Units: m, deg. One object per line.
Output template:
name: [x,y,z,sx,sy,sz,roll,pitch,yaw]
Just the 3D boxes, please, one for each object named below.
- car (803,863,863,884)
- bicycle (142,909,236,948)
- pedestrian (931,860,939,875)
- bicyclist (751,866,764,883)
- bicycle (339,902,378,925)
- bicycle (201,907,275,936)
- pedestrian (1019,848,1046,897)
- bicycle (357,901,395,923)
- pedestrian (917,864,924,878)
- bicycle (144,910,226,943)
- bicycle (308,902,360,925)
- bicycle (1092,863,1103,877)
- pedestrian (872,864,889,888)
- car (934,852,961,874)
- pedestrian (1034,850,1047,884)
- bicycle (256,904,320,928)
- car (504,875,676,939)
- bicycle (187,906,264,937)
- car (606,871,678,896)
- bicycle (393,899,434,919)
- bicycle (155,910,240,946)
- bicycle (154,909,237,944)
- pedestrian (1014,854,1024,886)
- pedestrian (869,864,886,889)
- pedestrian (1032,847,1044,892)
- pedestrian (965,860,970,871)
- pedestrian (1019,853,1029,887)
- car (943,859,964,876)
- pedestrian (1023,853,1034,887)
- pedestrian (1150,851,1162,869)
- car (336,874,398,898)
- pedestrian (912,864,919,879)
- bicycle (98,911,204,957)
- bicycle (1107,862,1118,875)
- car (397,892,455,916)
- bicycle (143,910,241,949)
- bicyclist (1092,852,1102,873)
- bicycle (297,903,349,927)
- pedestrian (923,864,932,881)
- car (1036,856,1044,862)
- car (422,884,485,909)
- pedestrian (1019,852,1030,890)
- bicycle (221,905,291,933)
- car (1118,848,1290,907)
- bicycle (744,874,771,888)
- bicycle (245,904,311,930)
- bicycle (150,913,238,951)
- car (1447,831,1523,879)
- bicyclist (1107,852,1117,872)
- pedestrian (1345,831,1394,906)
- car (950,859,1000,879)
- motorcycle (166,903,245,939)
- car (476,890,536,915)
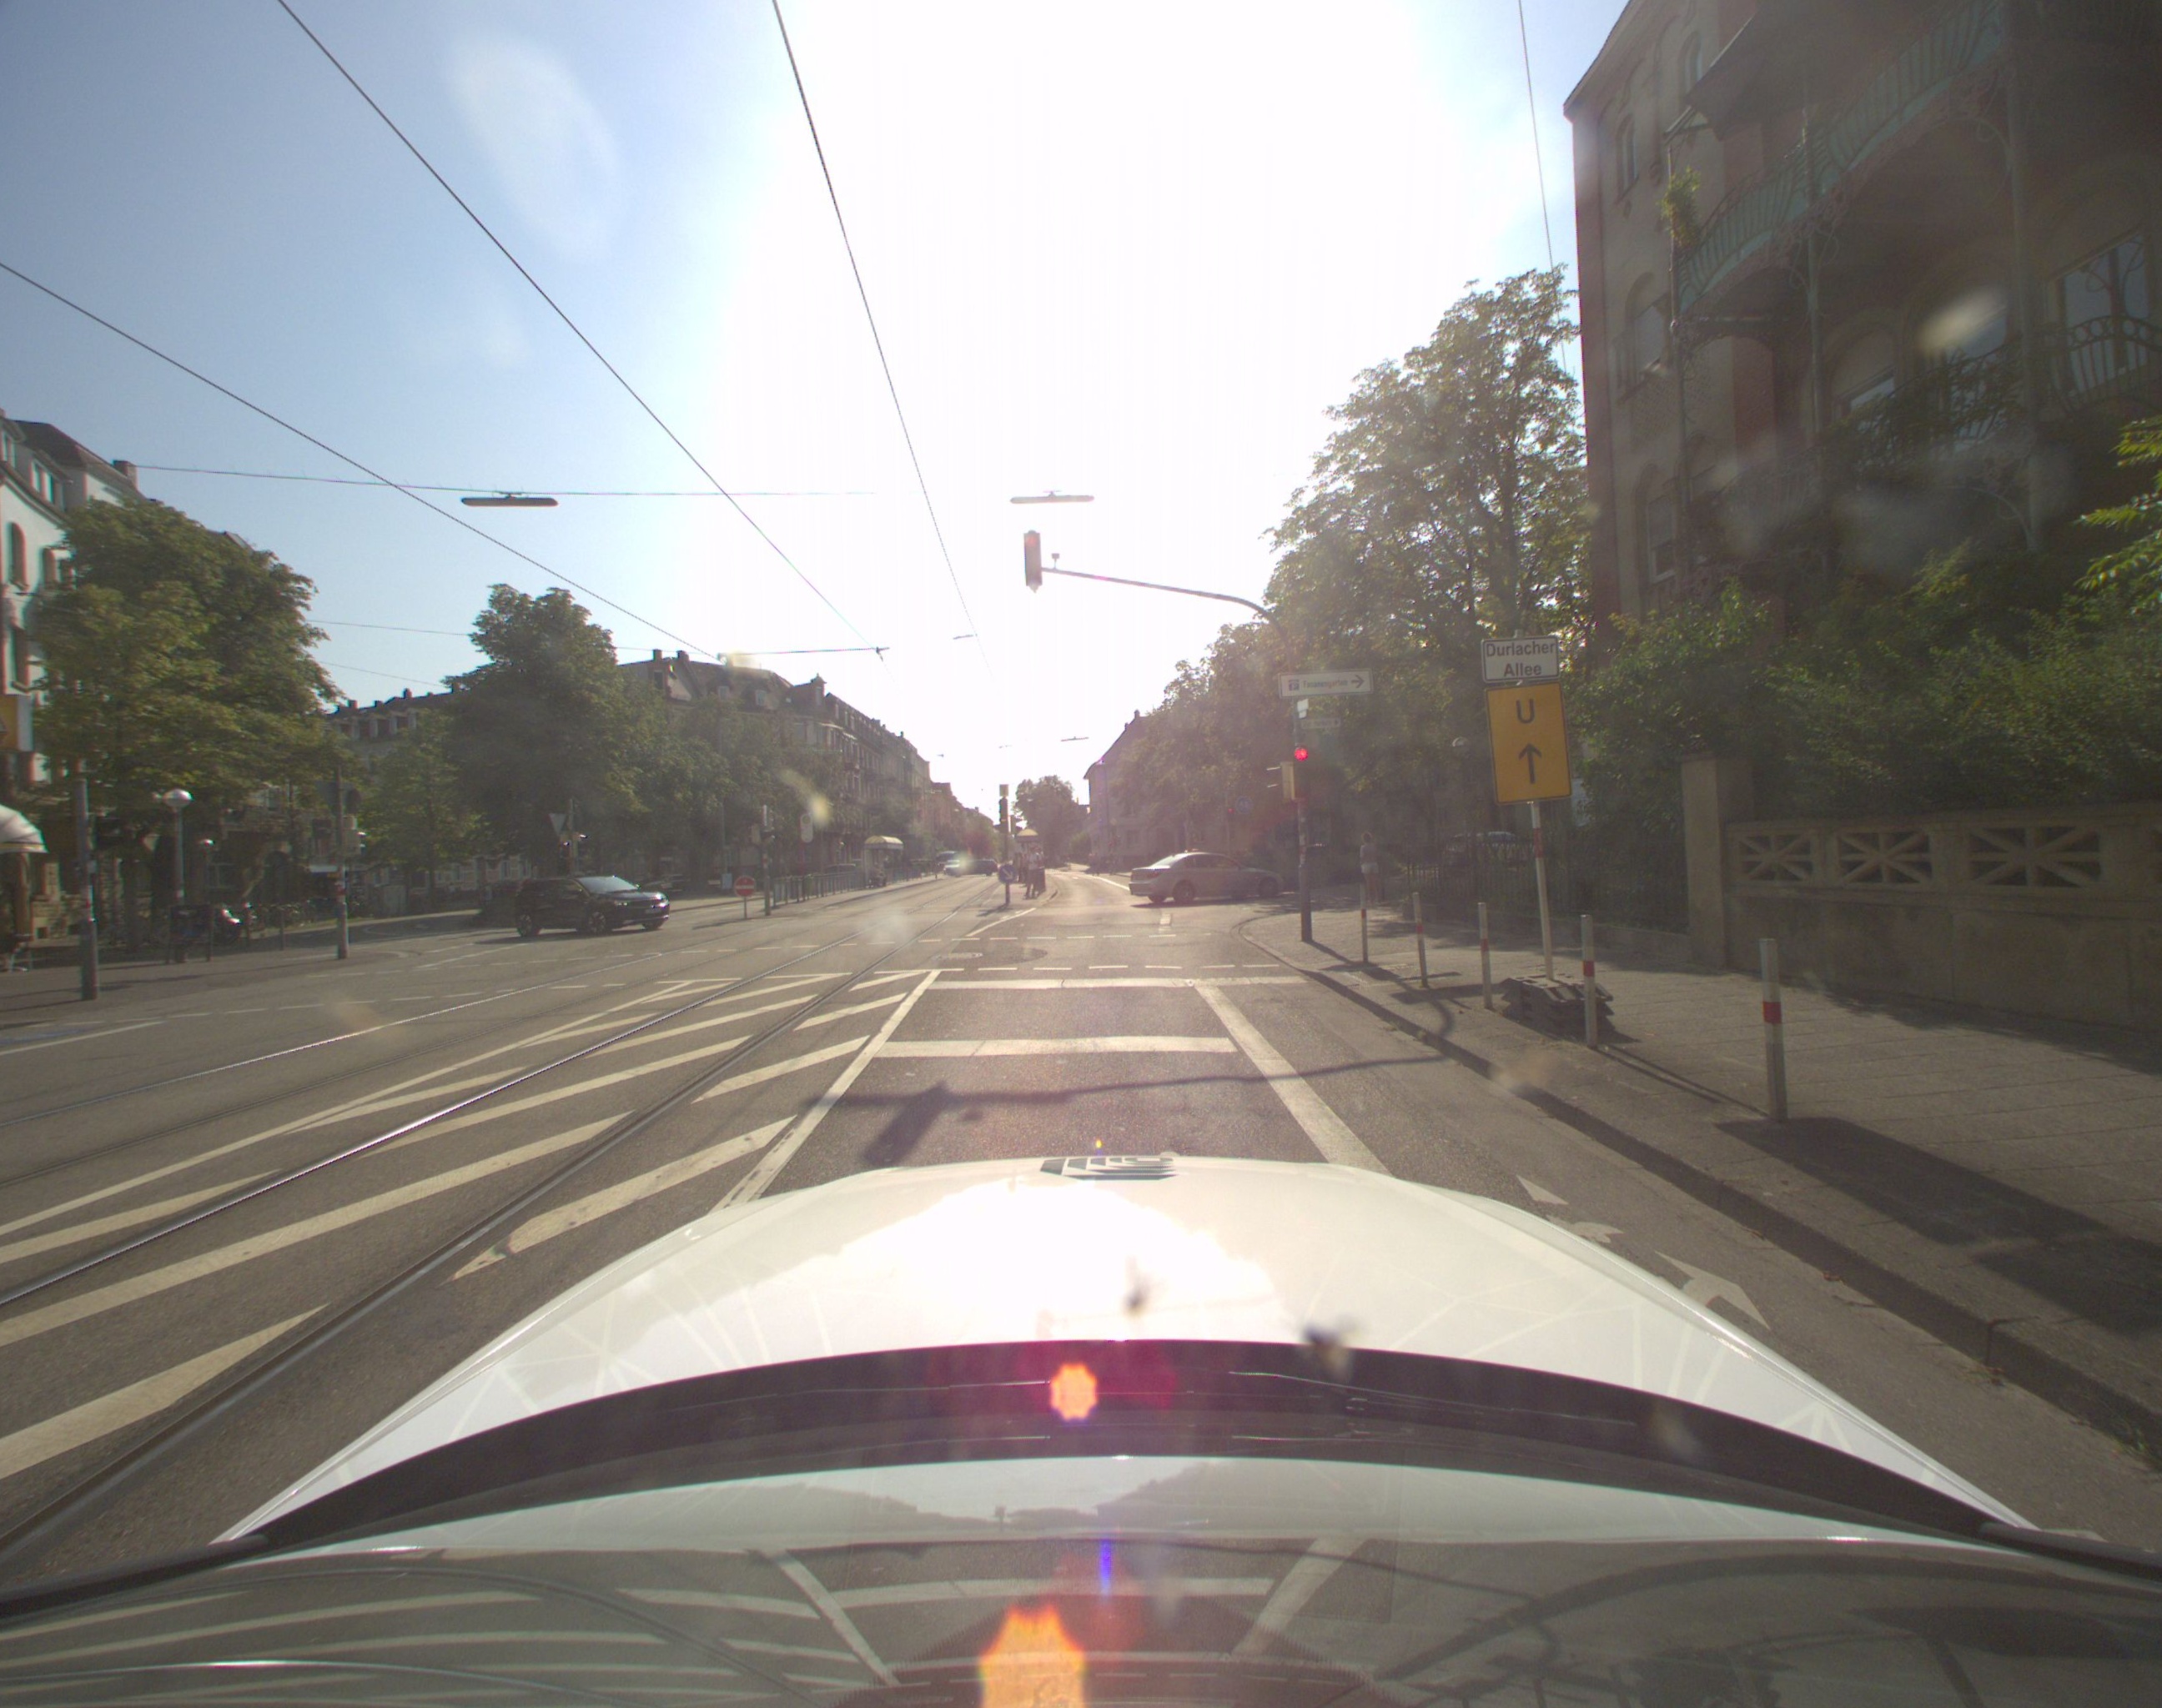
car: [-20.979,1.659,68.915,4.358,1.569,1.977,-3,0,-40]
bicycle: [-27.547,2.273,25.197,1.888,1.034,0.563,-2,-1,-42]
pedestrian: [-16.621,1.531,92.644,0.750,1.731,0.768,-3,0,-12]
bicyclist: [-25.947,1.656,65.314,0.825,1.328,0.543,-3,0,-34]
bicycle: [-35.970,2.944,40.579,0.423,0.978,1.768,-3,0,-3]
bicycle: [-32.929,2.626,31.846,1.921,0.935,0.730,-2,-1,-37]
pedestrian: [-1.768,0.651,29.645,0.693,1.725,0.753,1,2,30]
bicycle: [-35.629,2.938,41.186,0.423,0.978,1.768,-3,0,-3]
pedestrian: [-19.769,2.096,100.265,0.750,1.731,0.768,-3,0,-12]
bicycle: [-30.259,2.436,27.532,1.815,0.977,0.652,-2,-1,-44]
bicycle: [-37.206,2.977,40.570,1.774,0.978,0.600,-3,0,-26]
bicycle: [1.250,1.171,61.368,0.628,0.978,1.767,-3,0,-4]
pedestrian: [-11.497,1.250,46.729,0.827,1.359,0.774,-3,0,-7]
car: [-17.177,1.177,104.889,2.339,2.662,5.106,-3,0,1]
pedestrian: [-2.126,0.696,42.797,0.707,1.759,0.533,0,2,-3]
bicycle: [-34.877,2.717,35.845,1.879,0.935,0.634,-2,-1,-21]
car: [-13.134,1.421,21.798,4.178,1.515,1.620,-2,1,20]
bicycle: [-32.277,2.541,30.761,1.887,1.027,0.656,-2,-1,-37]
car: [-31.980,2.142,59.499,4.339,1.569,1.986,-3,0,-22]
bicycle: [-36.438,2.979,44.458,1.756,0.978,0.606,-3,0,4]
bicycle: [-28.470,2.369,26.278,1.815,0.984,0.563,-2,-1,-44]
bicycle: [-29.373,2.390,27.066,1.815,0.983,0.652,-2,-1,-44]
pedestrian: [-3.423,0.867,44.766,0.531,1.759,0.544,0,2,-2]
pedestrian: [-11.429,1.242,45.755,0.827,1.359,0.774,-3,0,-7]
pedestrian: [-1.796,0.626,33.912,0.503,1.833,0.533,0,2,-3]
pedestrian: [-18.751,1.955,134.605,0.750,1.731,0.768,-3,0,-12]
pedestrian: [-2.974,0.847,42.562,0.542,1.759,0.533,0,2,-3]
car: [-14.009,1.473,89.728,1.797,1.653,3.639,-3,0,-2]
pedestrian: [-2.800,0.841,43.381,0.542,1.759,0.533,0,2,-3]
pedestrian: [7.246,0.561,78.380,0.883,1.740,0.780,-3,-1,24]
car: [-62.821,2.799,71.691,3.963,1.828,2.006,-3,0,9]
pedestrian: [-19.710,2.034,96.971,0.750,1.731,0.768,-3,0,-12]
bicycle: [-26.204,2.237,23.002,0.563,1.113,1.887,-3,-1,18]
bicycle: [2.360,1.071,60.825,0.557,0.978,1.853,-3,0,-4]
car: [-56.164,4.258,69.823,3.954,1.828,2.010,-3,0,18]
bicycle: [-26.429,2.224,24.233,0.562,1.003,1.890,-3,-1,33]
bicyclist: [1.229,0.619,61.369,0.628,1.507,0.677,-3,0,-5]
bicycle: [-37.036,2.973,39.803,1.773,0.978,0.516,-3,0,-25]
pedestrian: [-16.251,1.996,86.312,0.747,1.731,0.771,-3,0,-1]
car: [-13.097,1.501,260.986,1.985,1.783,4.004,-2,0,4]
car: [-50.023,3.381,64.953,3.954,1.828,2.010,-3,0,18]
pedestrian: [-2.655,0.805,38.569,0.503,1.759,0.533,0,2,-3]
bicycle: [-33.608,2.639,33.212,1.909,0.980,0.678,-2,-1,-37]
car: [3.698,0.669,24.443,4.791,1.466,1.856,-3,0,-23]
bicycle: [-25.928,2.172,65.308,1.864,0.958,0.542,-3,0,-34]
bicycle: [-34.025,2.659,34.551,1.909,0.980,0.678,-2,-1,-37]
bicycle: [-25.325,2.212,23.275,0.473,0.920,1.619,-3,-1,27]
car: [15.575,0.003,31.281,1.974,1.630,4.360,-3,0,34]
bicyclist: [2.330,0.592,60.842,0.557,1.416,0.870,-3,0,-4]
pedestrian: [6.908,0.338,19.543,0.750,1.731,0.768,-3,0,-12]
car: [-9.531,1.360,73.350,4.316,1.569,1.996,-3,0,-6]
motorcycle: [-31.921,2.423,29.729,1.883,1.154,0.601,-2,-1,-37]
car: [-47.234,3.977,66.893,3.954,1.828,2.010,-3,0,18]
